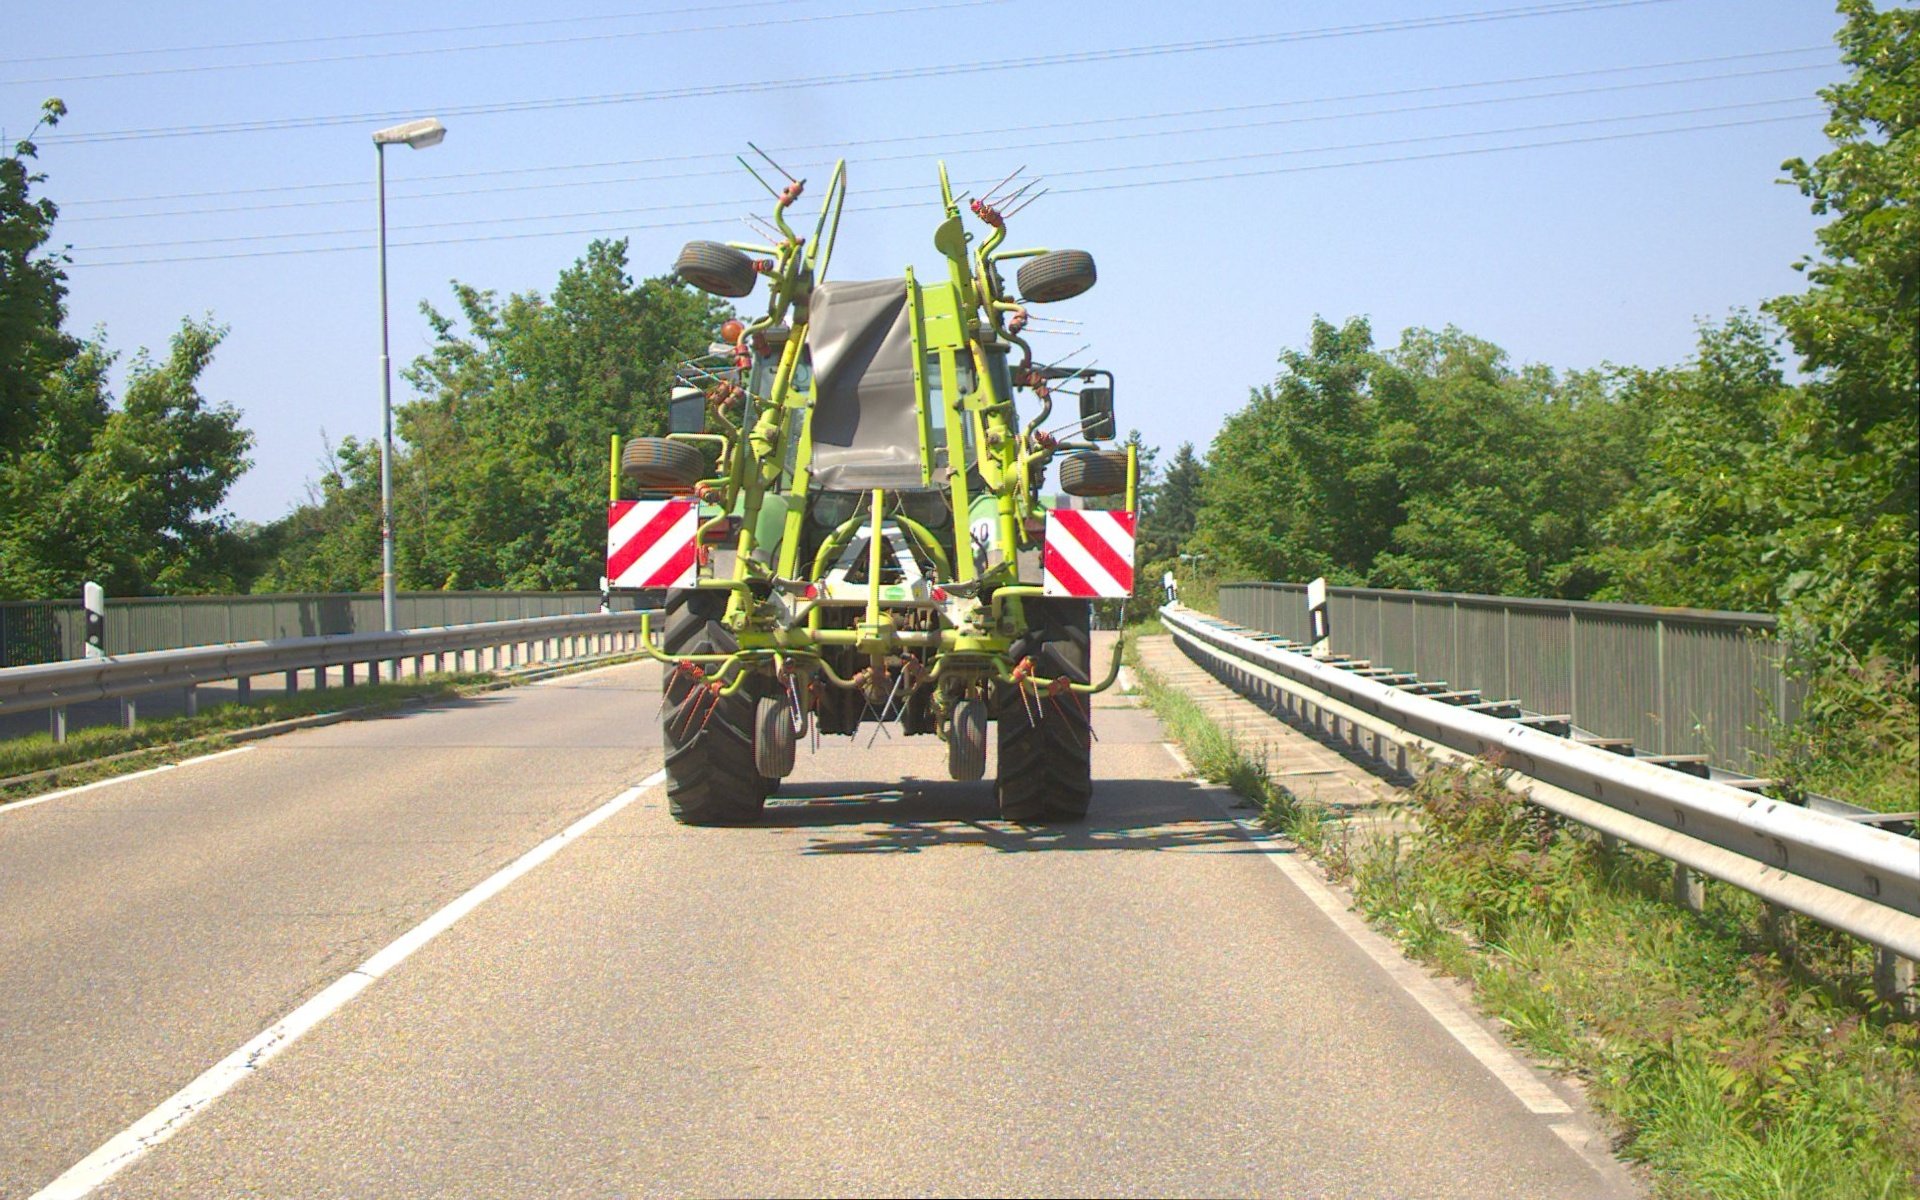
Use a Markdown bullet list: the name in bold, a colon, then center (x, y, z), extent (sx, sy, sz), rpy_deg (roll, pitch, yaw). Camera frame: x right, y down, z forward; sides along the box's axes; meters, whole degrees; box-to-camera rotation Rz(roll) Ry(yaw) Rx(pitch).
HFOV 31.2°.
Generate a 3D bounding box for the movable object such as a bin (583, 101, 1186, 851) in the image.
- **movable object such as a bin**: center (-0.383, -0.613, 18.573), extent (2.755, 3.432, 5.670), rpy_deg (0, 1, -1)
